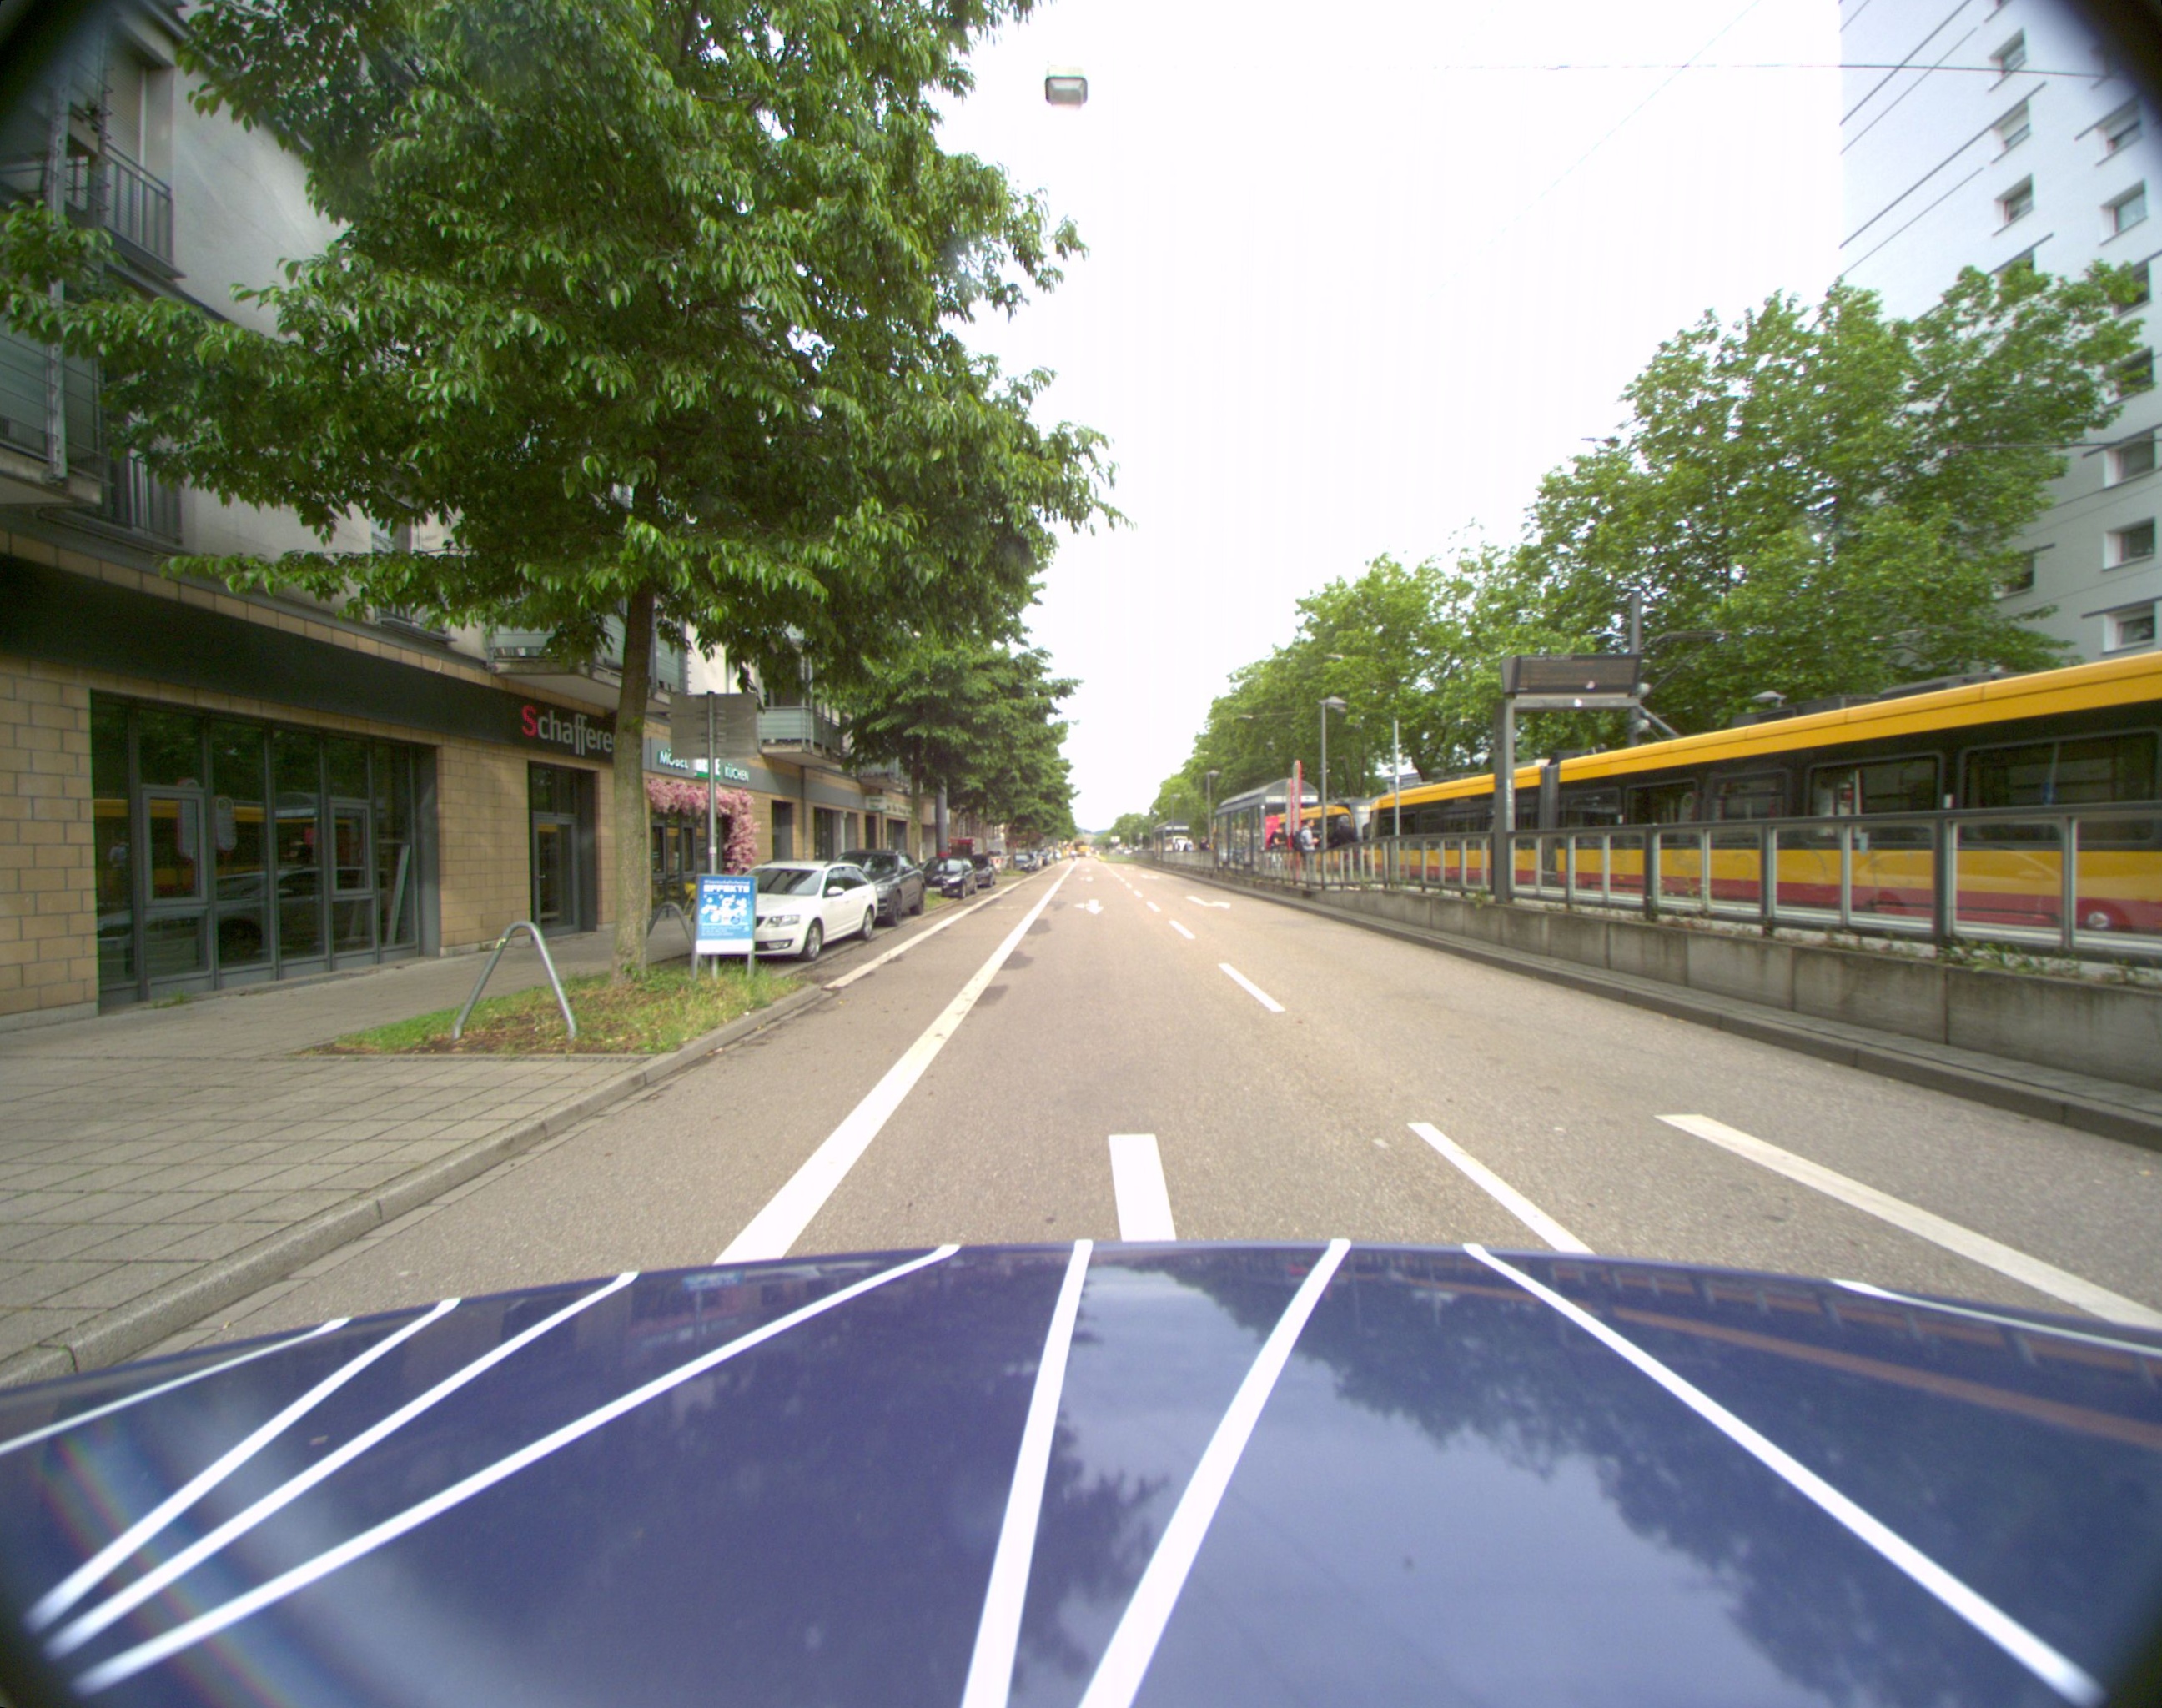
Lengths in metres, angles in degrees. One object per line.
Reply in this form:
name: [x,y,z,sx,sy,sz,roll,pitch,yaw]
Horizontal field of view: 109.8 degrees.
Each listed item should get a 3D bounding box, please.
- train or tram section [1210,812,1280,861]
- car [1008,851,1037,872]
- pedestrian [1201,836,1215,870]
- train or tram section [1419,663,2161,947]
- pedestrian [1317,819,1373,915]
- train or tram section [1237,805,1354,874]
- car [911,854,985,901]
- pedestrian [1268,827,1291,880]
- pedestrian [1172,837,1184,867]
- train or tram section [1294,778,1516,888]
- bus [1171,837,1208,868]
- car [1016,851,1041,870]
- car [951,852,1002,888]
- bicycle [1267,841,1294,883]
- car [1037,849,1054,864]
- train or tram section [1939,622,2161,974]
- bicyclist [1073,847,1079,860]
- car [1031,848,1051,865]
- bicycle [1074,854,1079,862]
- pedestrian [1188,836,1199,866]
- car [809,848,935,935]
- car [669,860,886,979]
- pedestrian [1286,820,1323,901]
train or tram section: [13.206,-1.391,62.351,3.100,3.541,12.537,-2,1,1]
car: [-4.292,0.535,56.088,1.755,1.452,4.279,1,1,0]
pedestrian: [6.039,-0.049,36.210,0.513,1.623,0.730,-2,1,2]
train or tram section: [12.621,-0.735,17.366,3.067,3.511,15.292,-2,1,1]
pedestrian: [5.688,0.268,16.381,0.756,2.002,0.816,-3,2,-36]
train or tram section: [13.005,-0.892,48.202,3.067,3.511,15.769,-2,1,1]
car: [-4.620,0.775,26.942,1.680,1.433,4.407,2,1,2]
pedestrian: [6.223,-0.029,23.786,0.532,1.623,0.471,-2,1,-2]
pedestrian: [6.631,-0.161,52.071,0.676,2.002,0.588,-2,1,-2]
train or tram section: [12.822,-0.798,32.678,3.067,3.511,15.292,-2,1,1]
bus: [7.512,-0.132,53.017,1.998,2.002,3.999,-2,1,1]
car: [-4.244,0.518,62.272,1.755,1.452,4.279,1,1,0]
car: [-4.705,0.677,34.662,1.802,1.447,4.387,2,1,-1]
bicycle: [5.973,0.220,22.787,0.420,1.215,1.289,-2,1,0]
car: [-4.086,0.234,87.685,1.837,1.686,3.761,1,1,0]
train or tram section: [12.436,-0.536,1.785,3.067,3.568,15.846,-2,1,1]
bicyclist: [-0.653,-0.050,107.674,0.751,1.777,0.838,-2,1,1]
car: [-4.089,0.237,78.393,1.837,1.720,4.279,1,1,0]
bicycle: [-0.668,0.577,107.895,0.613,1.116,2.050,-2,1,1]
pedestrian: [6.082,-0.170,40.949,0.480,1.623,0.392,-2,1,2]
car: [-4.754,0.763,17.997,1.716,1.707,4.710,2,1,-1]
car: [-4.717,0.908,12.574,1.680,1.490,4.389,2,1,2]
pedestrian: [5.696,0.156,19.350,0.753,2.002,0.819,-2,1,24]
